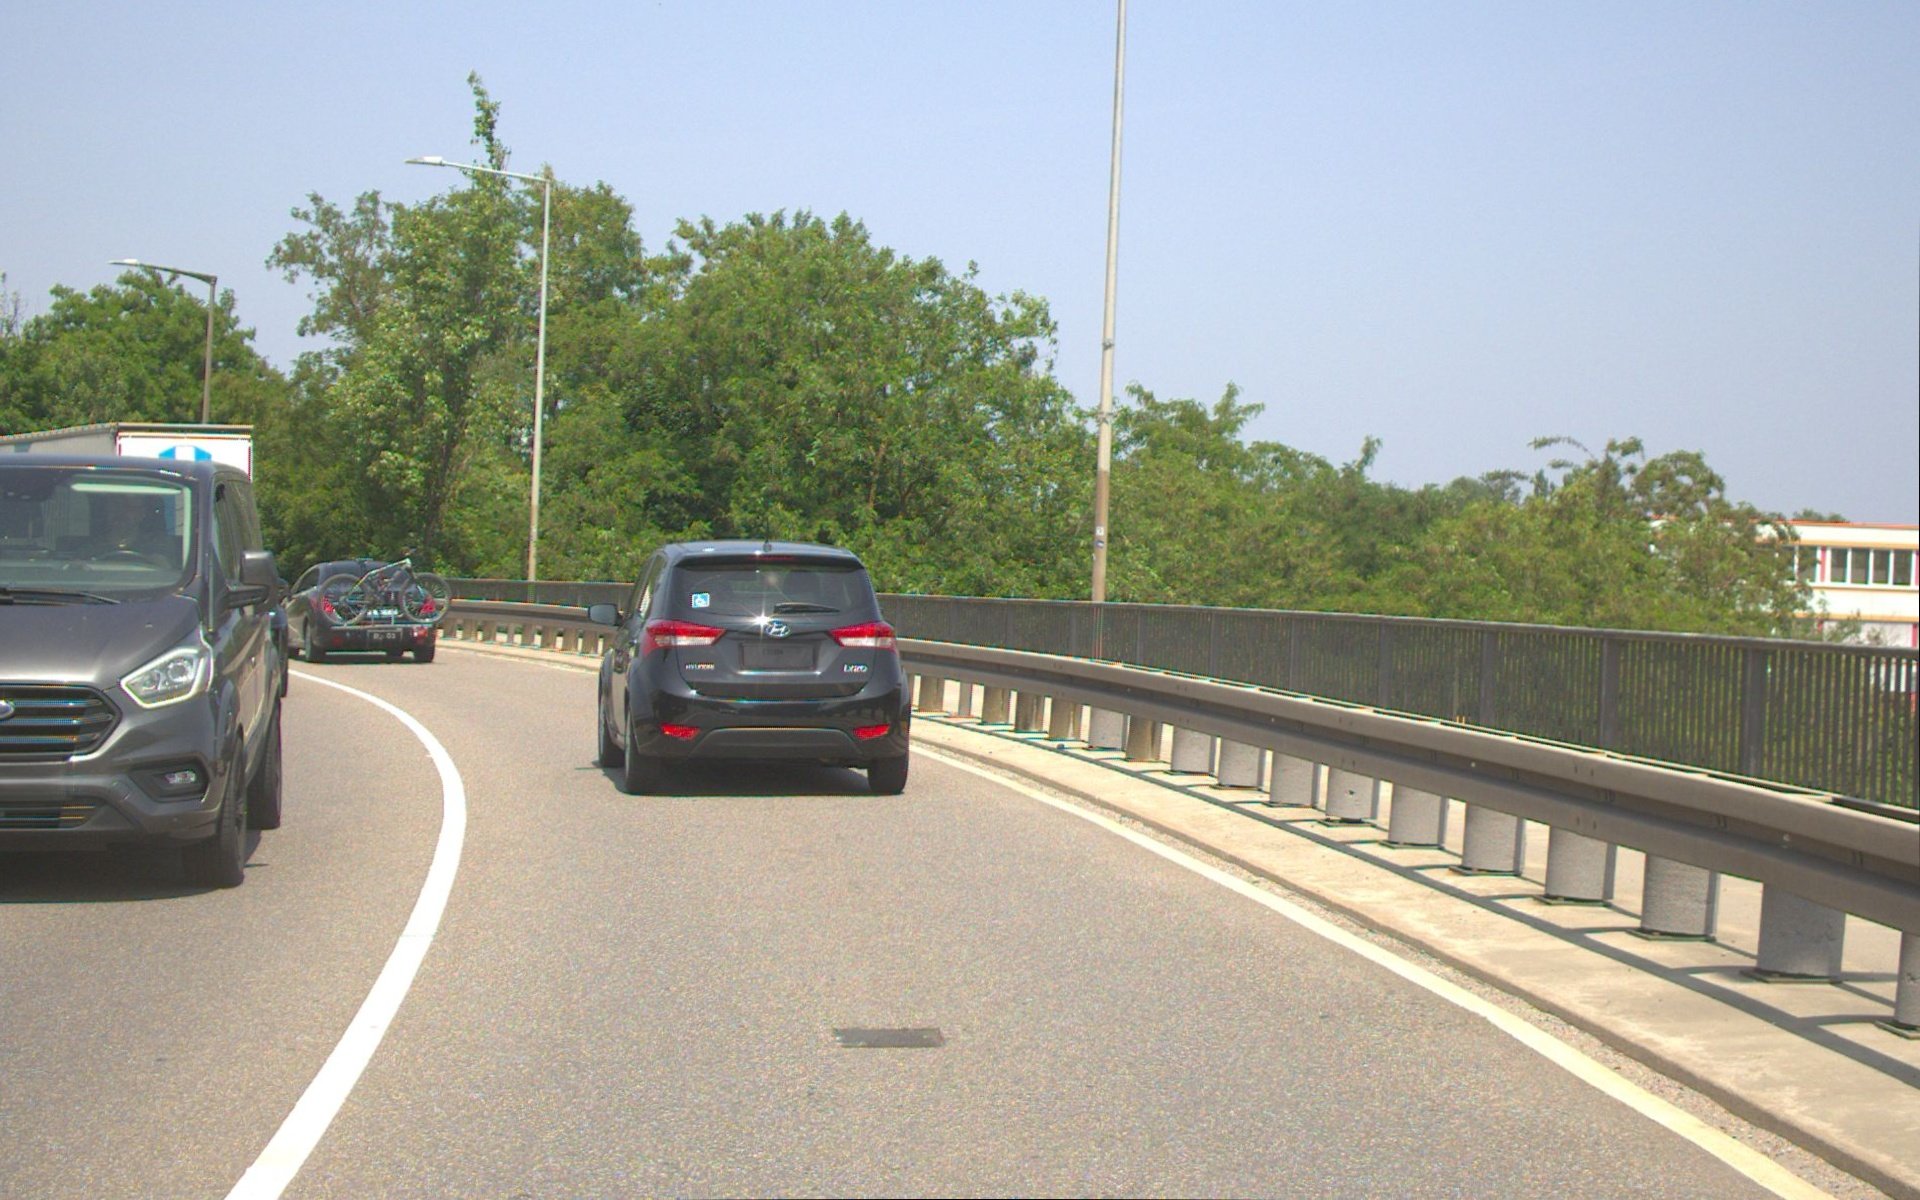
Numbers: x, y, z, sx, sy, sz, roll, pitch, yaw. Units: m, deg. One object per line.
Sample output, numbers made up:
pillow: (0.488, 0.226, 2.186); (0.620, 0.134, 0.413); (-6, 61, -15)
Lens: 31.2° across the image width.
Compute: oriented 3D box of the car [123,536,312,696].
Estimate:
car: (-8.176, 0.130, 37.663); (1.892, 1.590, 4.488); (0, 2, -13)

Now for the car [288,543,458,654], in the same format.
car: (-8.252, -0.049, 48.106); (2.011, 1.424, 3.778); (0, 2, -15)

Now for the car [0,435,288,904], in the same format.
car: (-4.399, 0.271, 16.939); (2.006, 1.952, 5.272); (0, 0, -10)

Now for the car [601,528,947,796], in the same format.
car: (-1.312, 0.337, 22.584); (1.921, 1.568, 3.893); (1, 2, -8)

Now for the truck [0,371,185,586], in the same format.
truck: (-19.382, -2.620, 74.708); (3.572, 4.425, 6.517); (0, 2, -26)

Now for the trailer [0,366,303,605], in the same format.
trailer: (-16.497, -2.272, 68.890); (3.569, 4.369, 11.443); (0, 2, -26)
